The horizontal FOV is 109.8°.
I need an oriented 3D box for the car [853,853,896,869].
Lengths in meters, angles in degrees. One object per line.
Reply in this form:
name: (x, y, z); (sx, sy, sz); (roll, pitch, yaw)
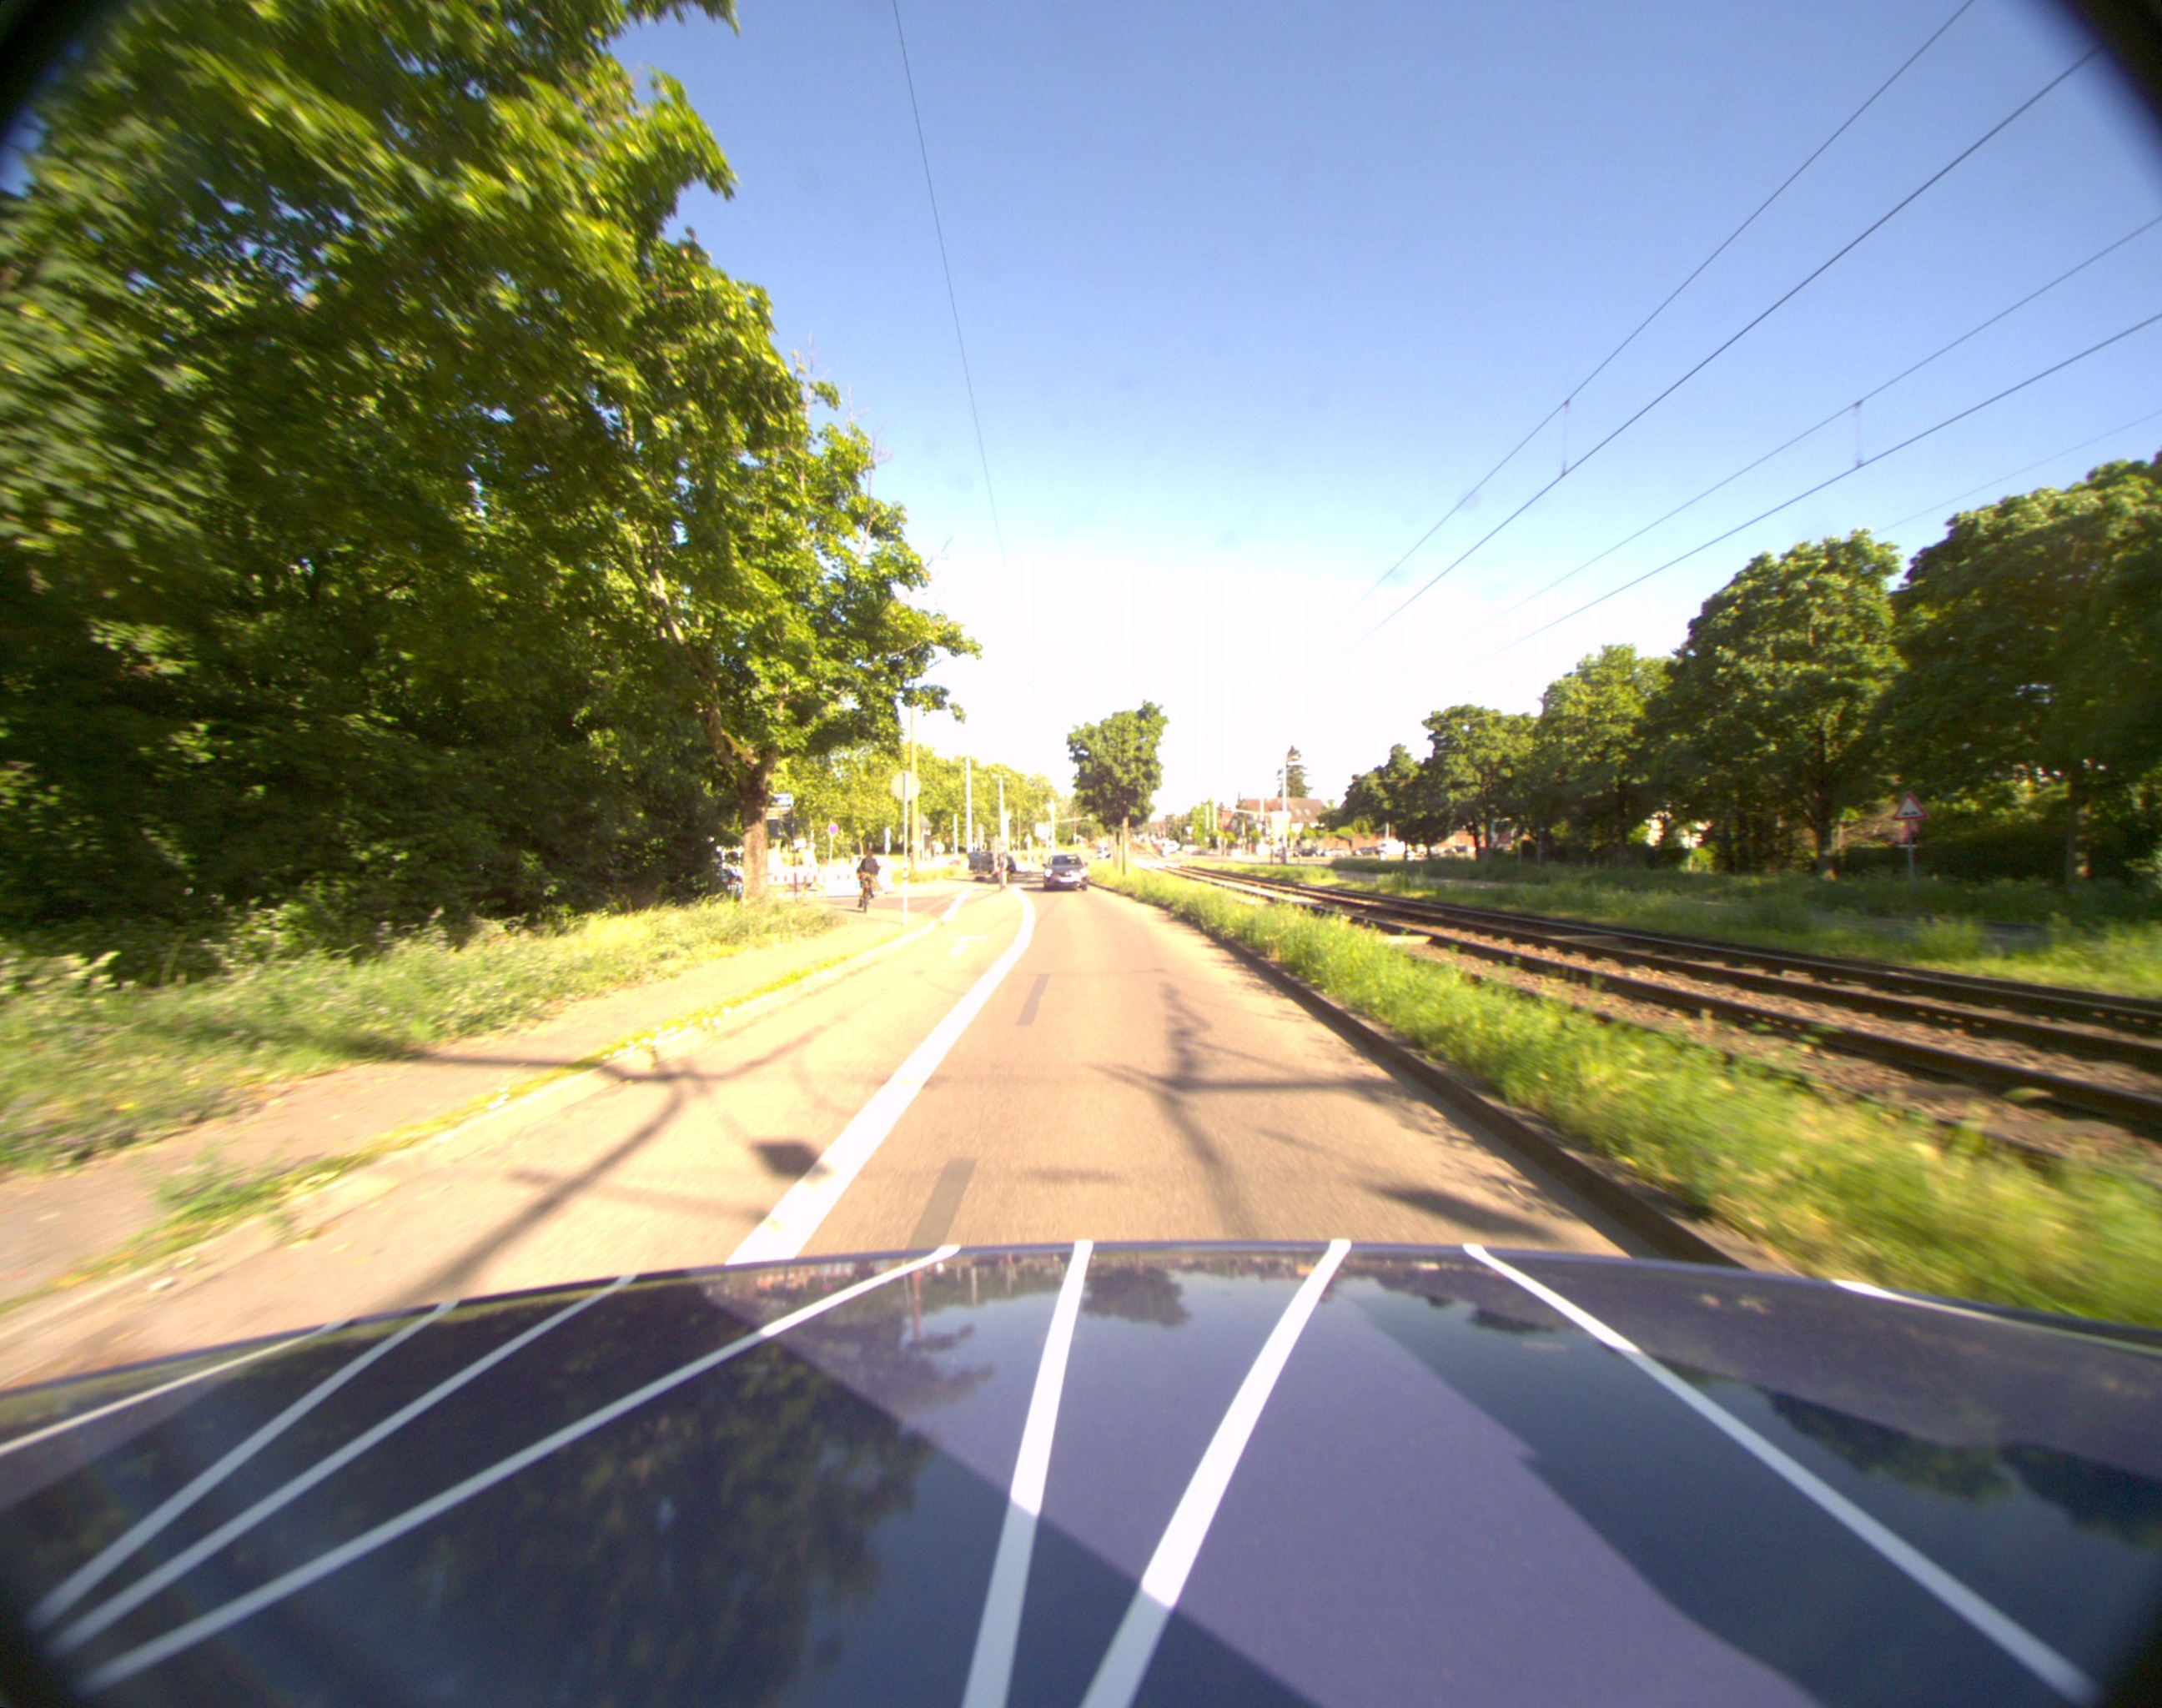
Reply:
car: (-22.220, 0.704, 81.861); (4.180, 1.668, 1.930); (0, 1, -25)

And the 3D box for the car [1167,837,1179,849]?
car: (19.872, -2.325, 163.938); (2.345, 2.444, 6.873); (0, 1, 8)

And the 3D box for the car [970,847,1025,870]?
car: (-7.937, 0.432, 71.862); (5.104, 2.059, 2.135); (0, 2, 37)

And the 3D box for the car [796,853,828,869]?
car: (-29.359, 0.755, 82.972); (3.213, 1.608, 1.369); (-1, 5, -25)

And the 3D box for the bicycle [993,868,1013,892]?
bicycle: (-3.445, 1.141, 33.680); (0.525, 0.918, 2.089); (0, 2, 4)

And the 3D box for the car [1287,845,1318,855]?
car: (34.403, -0.697, 118.018); (4.254, 1.458, 1.934); (-1, 2, -24)

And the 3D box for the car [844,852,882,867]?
car: (-25.182, 0.626, 87.699); (4.005, 1.608, 1.996); (0, 1, -24)

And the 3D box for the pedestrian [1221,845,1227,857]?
pedestrian: (23.159, -0.484, 122.747); (0.612, 1.937, 0.774); (-2, 2, -40)

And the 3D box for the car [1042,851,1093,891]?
car: (-0.518, 0.688, 32.530); (1.838, 1.542, 3.816); (0, 2, 4)

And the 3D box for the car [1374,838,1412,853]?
car: (51.154, -1.440, 124.406); (5.928, 2.397, 2.176); (-1, 2, -22)

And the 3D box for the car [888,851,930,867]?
car: (-20.422, 0.568, 90.270); (4.500, 1.702, 1.916); (-1, 2, -24)

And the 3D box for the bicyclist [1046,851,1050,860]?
bicyclist: (-4.872, 0.228, 112.999); (0.511, 1.333, 0.565); (-1, 2, -3)

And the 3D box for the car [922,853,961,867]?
car: (-15.500, 0.645, 84.383); (3.865, 1.591, 1.709); (0, 1, -26)

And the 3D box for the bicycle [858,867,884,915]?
bicycle: (-5.791, 0.988, 20.938); (0.621, 1.183, 2.502); (-1, 0, -16)

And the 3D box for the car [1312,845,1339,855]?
car: (39.902, -0.691, 124.068); (4.005, 1.469, 1.669); (-1, 2, -24)

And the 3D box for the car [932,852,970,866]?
car: (-15.209, 0.601, 88.931); (4.094, 1.591, 1.813); (-1, 1, -21)

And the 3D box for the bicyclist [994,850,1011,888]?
bicyclist: (-3.499, 0.670, 34.034); (0.616, 1.670, 0.933); (0, 1, 3)

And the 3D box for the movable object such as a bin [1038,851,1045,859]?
movable object such as a bin: (-5.809, 0.125, 112.206); (0.911, 1.062, 1.316); (-1, 2, -2)

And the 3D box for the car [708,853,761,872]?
car: (-35.173, 0.841, 77.310); (4.781, 1.673, 1.905); (-3, 3, -24)

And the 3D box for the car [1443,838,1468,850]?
car: (64.264, -1.690, 130.277); (4.005, 2.002, 1.804); (-1, 2, -26)

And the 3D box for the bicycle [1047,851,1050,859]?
bicycle: (-4.847, 0.096, 113.605); (0.468, 1.112, 1.819); (-1, 1, -2)

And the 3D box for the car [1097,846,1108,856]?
car: (3.658, -0.494, 130.038); (1.881, 1.519, 4.420); (0, 2, 2)

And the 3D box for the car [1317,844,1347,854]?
car: (39.656, -0.755, 119.921); (4.264, 1.458, 1.934); (-1, 1, -24)

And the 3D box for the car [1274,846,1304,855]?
car: (33.054, -0.577, 120.811); (4.642, 1.469, 1.669); (-1, 2, -24)

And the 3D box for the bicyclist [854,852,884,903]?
bicyclist: (-5.708, 0.621, 20.497); (0.758, 1.360, 0.805); (0, 0, -15)
